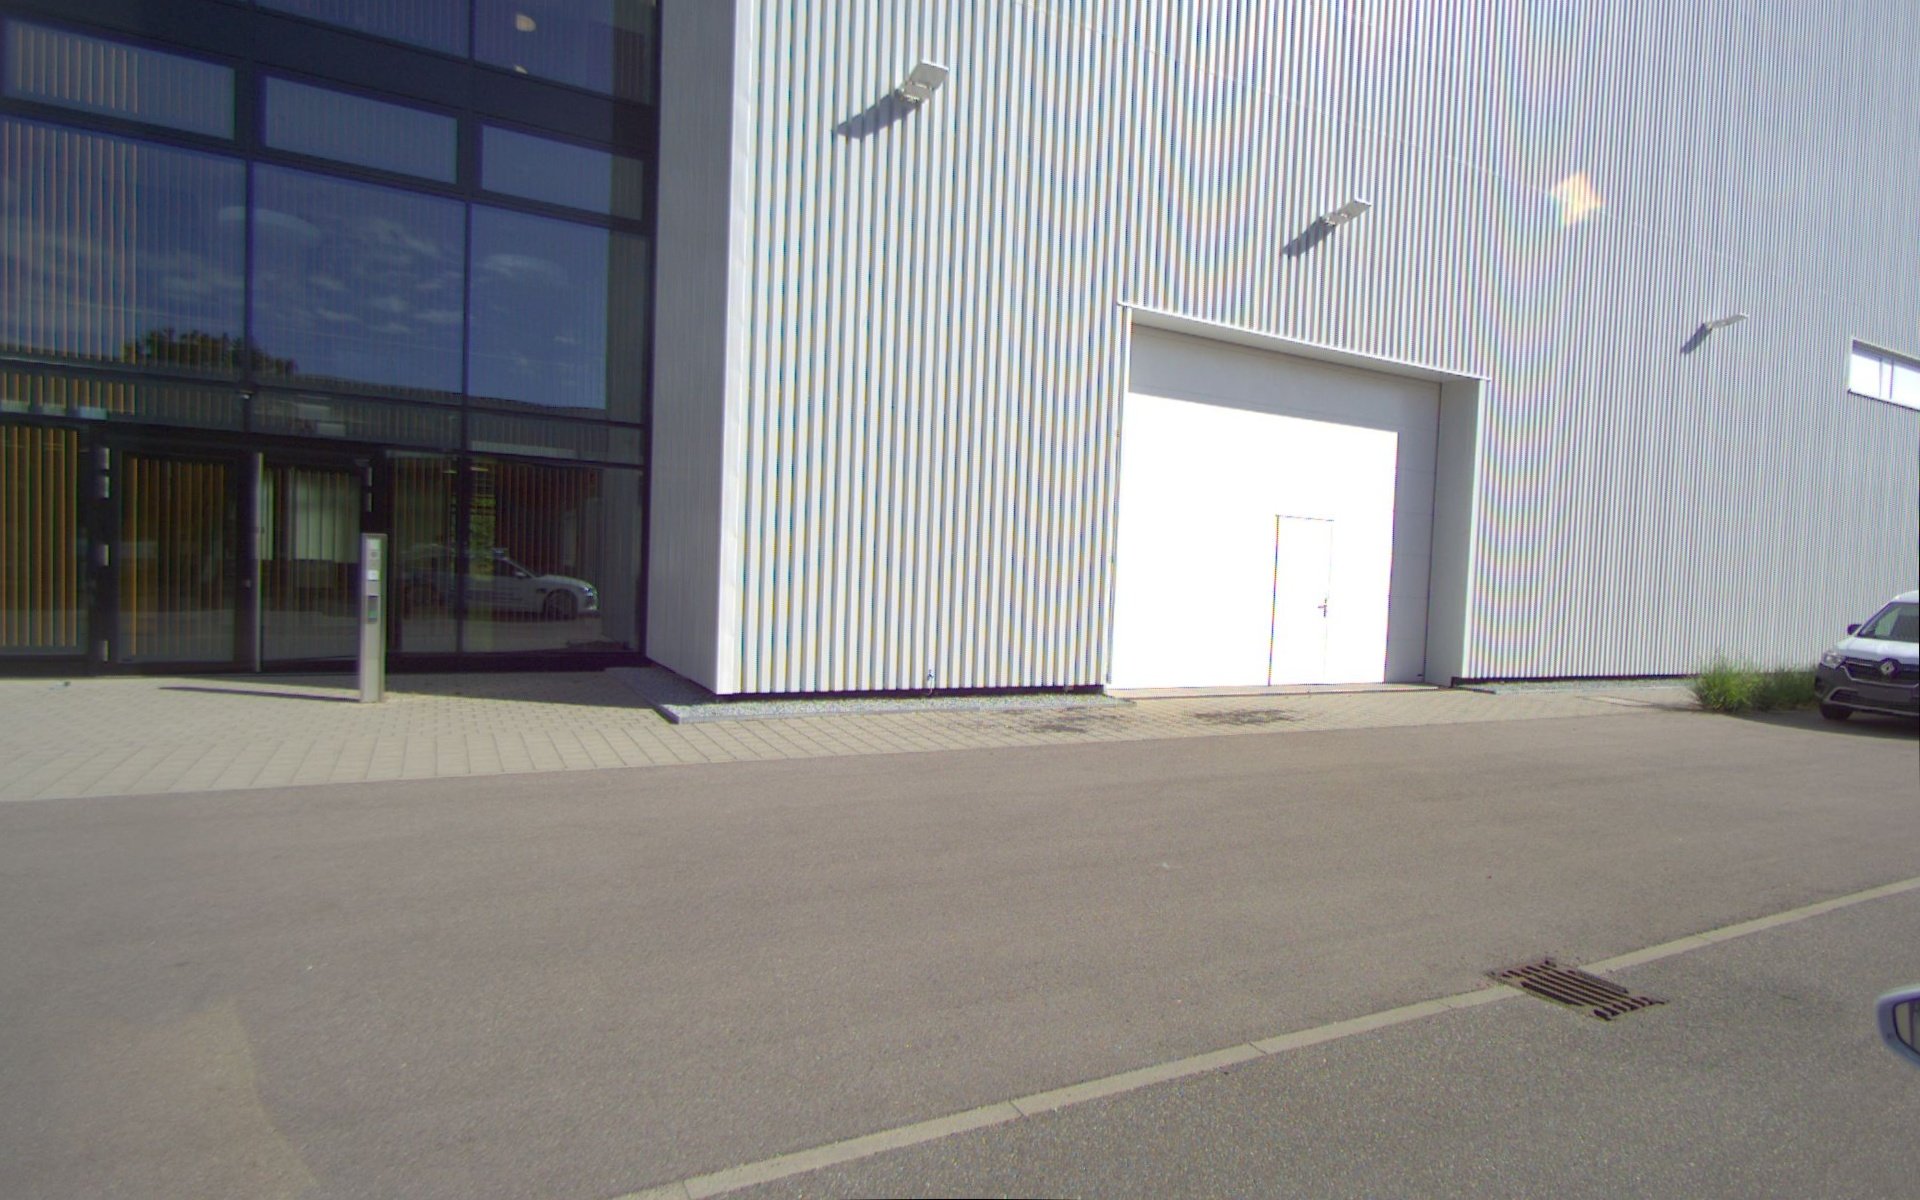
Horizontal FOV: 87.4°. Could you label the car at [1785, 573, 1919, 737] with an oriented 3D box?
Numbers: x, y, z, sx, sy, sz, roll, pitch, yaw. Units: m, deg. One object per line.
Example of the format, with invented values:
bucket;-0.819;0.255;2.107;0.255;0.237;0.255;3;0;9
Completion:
car;13.073;0.703;13.205;4.305;1.870;1.882;1;4;-29
